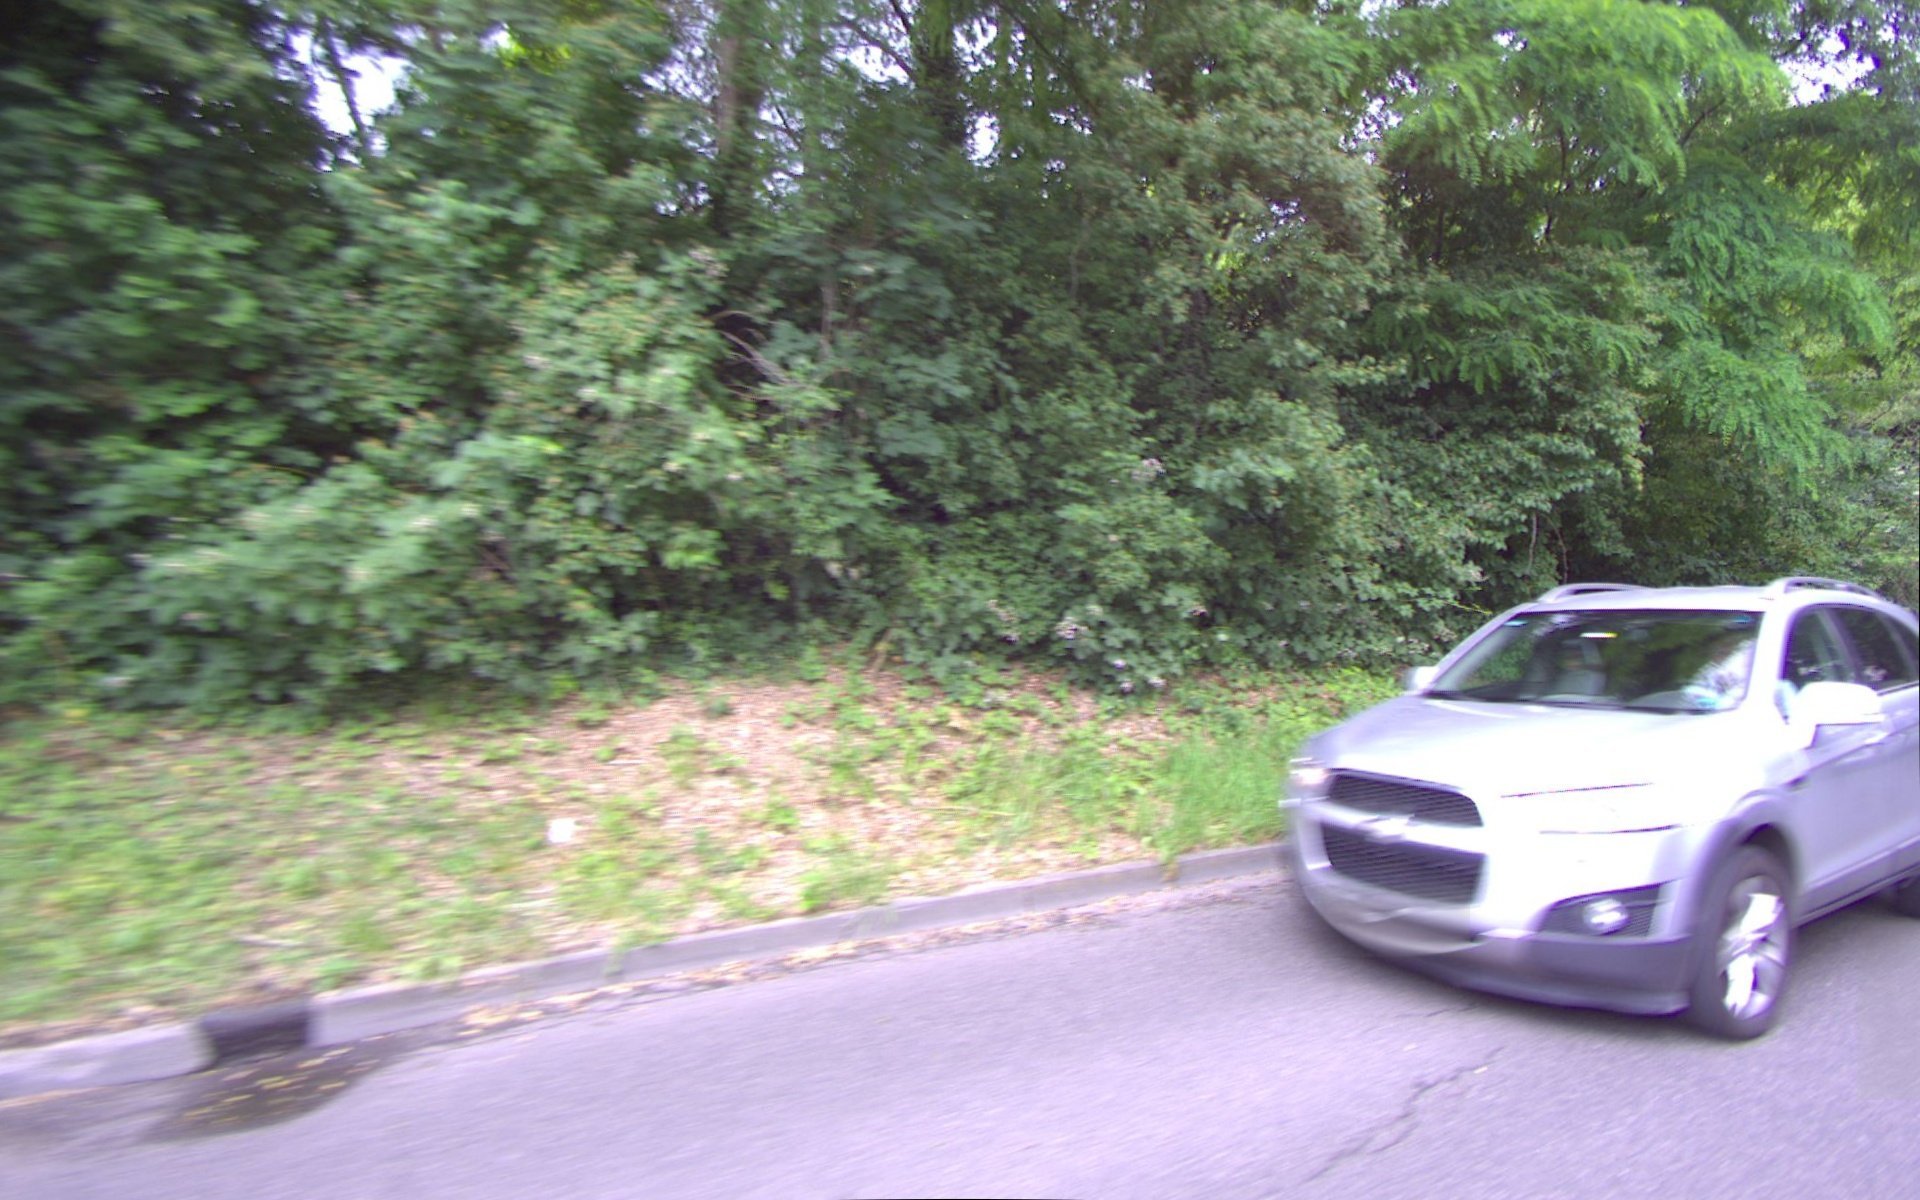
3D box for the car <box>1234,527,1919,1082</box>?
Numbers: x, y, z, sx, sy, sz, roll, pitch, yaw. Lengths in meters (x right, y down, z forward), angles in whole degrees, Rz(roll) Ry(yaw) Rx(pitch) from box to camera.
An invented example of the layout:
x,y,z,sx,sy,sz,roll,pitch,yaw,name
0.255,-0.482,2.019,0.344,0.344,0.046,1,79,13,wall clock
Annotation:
x,y,z,sx,sy,sz,roll,pitch,yaw,name
3.546,0.734,5.146,4.267,1.750,1.810,2,-3,-34,car
